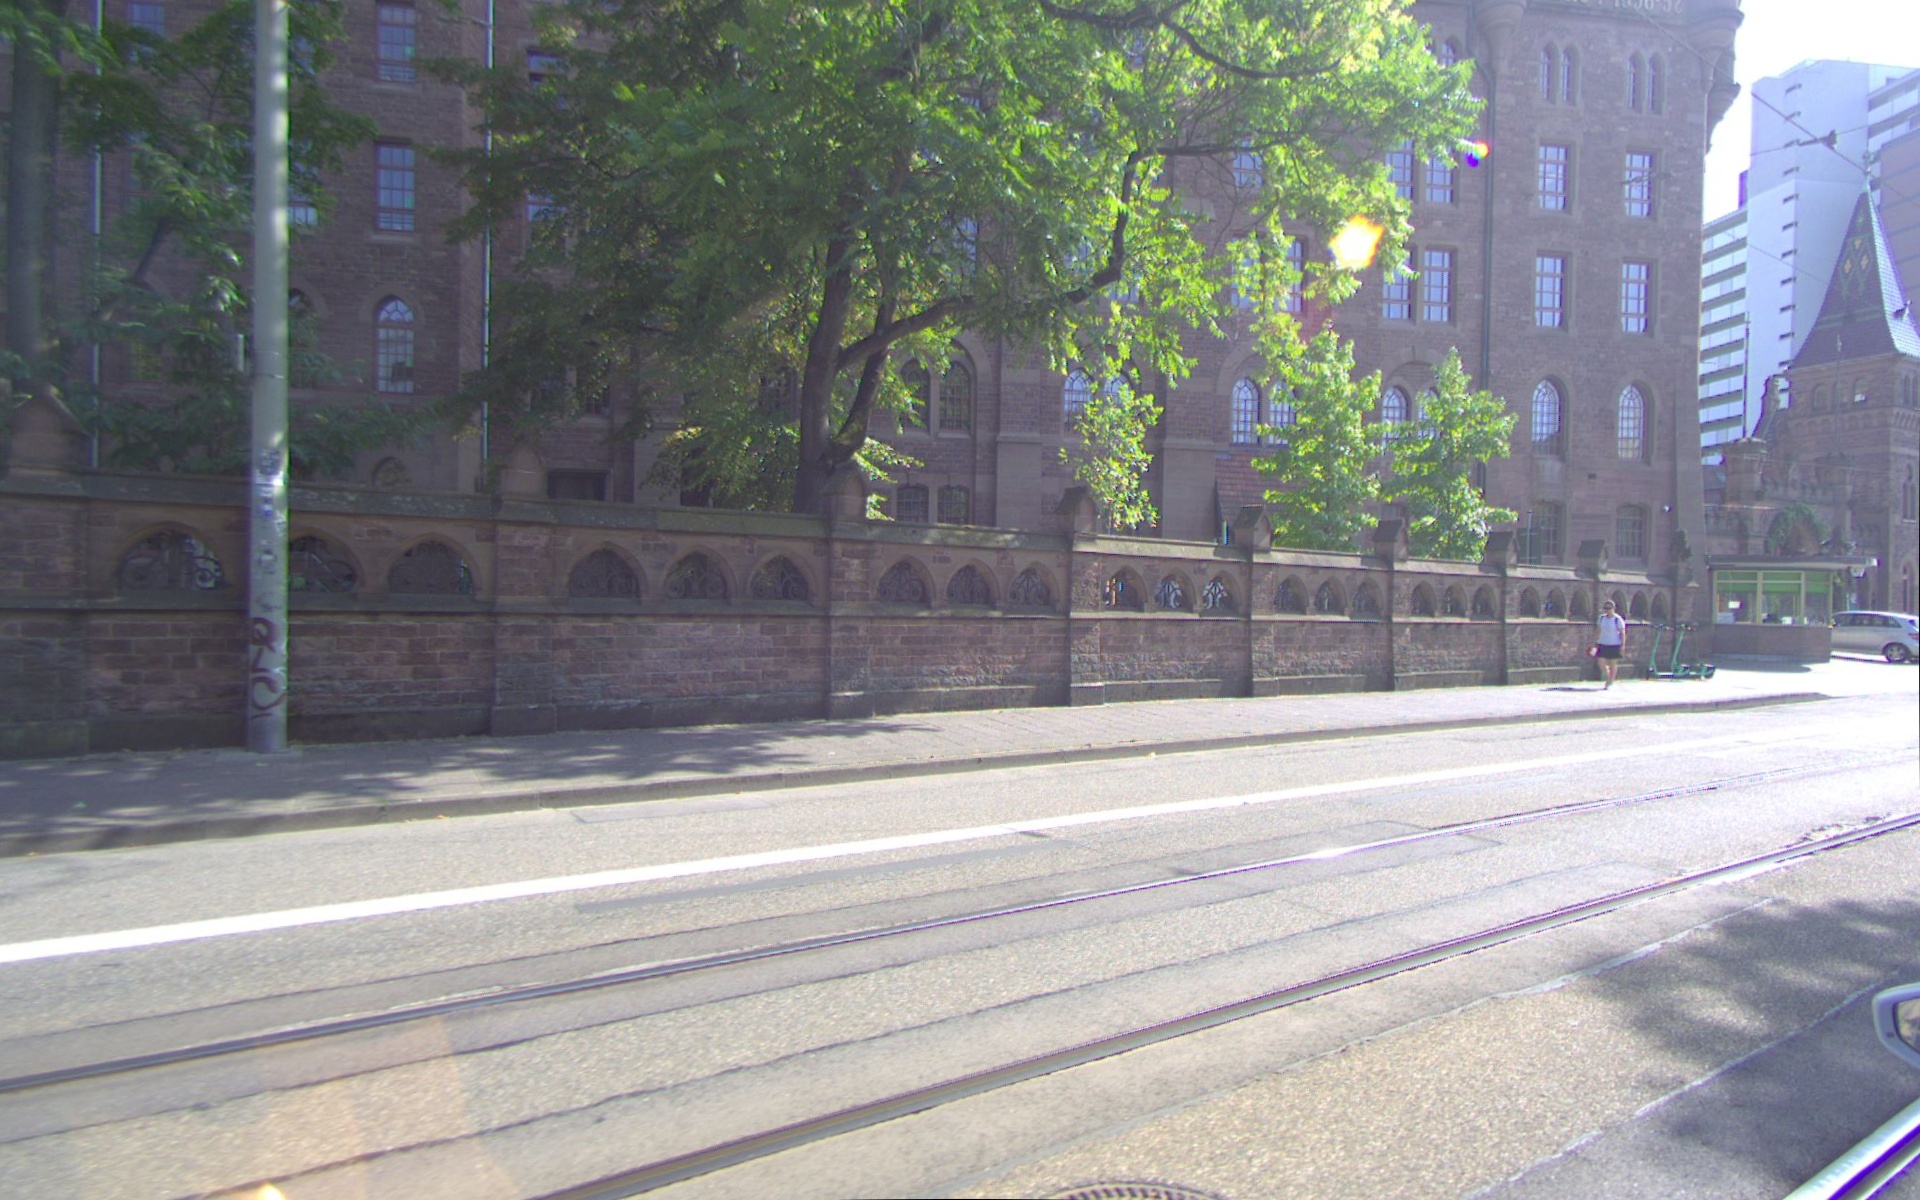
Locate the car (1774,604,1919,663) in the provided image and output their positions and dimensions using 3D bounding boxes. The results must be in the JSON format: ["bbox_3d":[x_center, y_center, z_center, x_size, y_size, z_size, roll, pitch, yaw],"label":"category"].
[{"bbox_3d":[31.003,1.122,34.813,1.800,1.617,3.881,1,4,-29],"label":"car"}]

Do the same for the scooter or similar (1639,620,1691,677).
[{"bbox_3d":[15.149,1.035,21.581,0.801,1.163,0.284,4,1,22],"label":"scooter or similar"}]

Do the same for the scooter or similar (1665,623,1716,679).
[{"bbox_3d":[16.170,1.116,22.249,0.801,1.163,0.284,4,1,22],"label":"scooter or similar"}]

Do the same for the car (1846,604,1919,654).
[{"bbox_3d":[36.194,1.173,37.408,1.937,1.668,4.368,1,4,-34],"label":"car"}]

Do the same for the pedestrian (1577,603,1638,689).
[{"bbox_3d":[12.444,0.869,19.307,0.767,1.610,0.711,1,0,-33],"label":"pedestrian"}]
